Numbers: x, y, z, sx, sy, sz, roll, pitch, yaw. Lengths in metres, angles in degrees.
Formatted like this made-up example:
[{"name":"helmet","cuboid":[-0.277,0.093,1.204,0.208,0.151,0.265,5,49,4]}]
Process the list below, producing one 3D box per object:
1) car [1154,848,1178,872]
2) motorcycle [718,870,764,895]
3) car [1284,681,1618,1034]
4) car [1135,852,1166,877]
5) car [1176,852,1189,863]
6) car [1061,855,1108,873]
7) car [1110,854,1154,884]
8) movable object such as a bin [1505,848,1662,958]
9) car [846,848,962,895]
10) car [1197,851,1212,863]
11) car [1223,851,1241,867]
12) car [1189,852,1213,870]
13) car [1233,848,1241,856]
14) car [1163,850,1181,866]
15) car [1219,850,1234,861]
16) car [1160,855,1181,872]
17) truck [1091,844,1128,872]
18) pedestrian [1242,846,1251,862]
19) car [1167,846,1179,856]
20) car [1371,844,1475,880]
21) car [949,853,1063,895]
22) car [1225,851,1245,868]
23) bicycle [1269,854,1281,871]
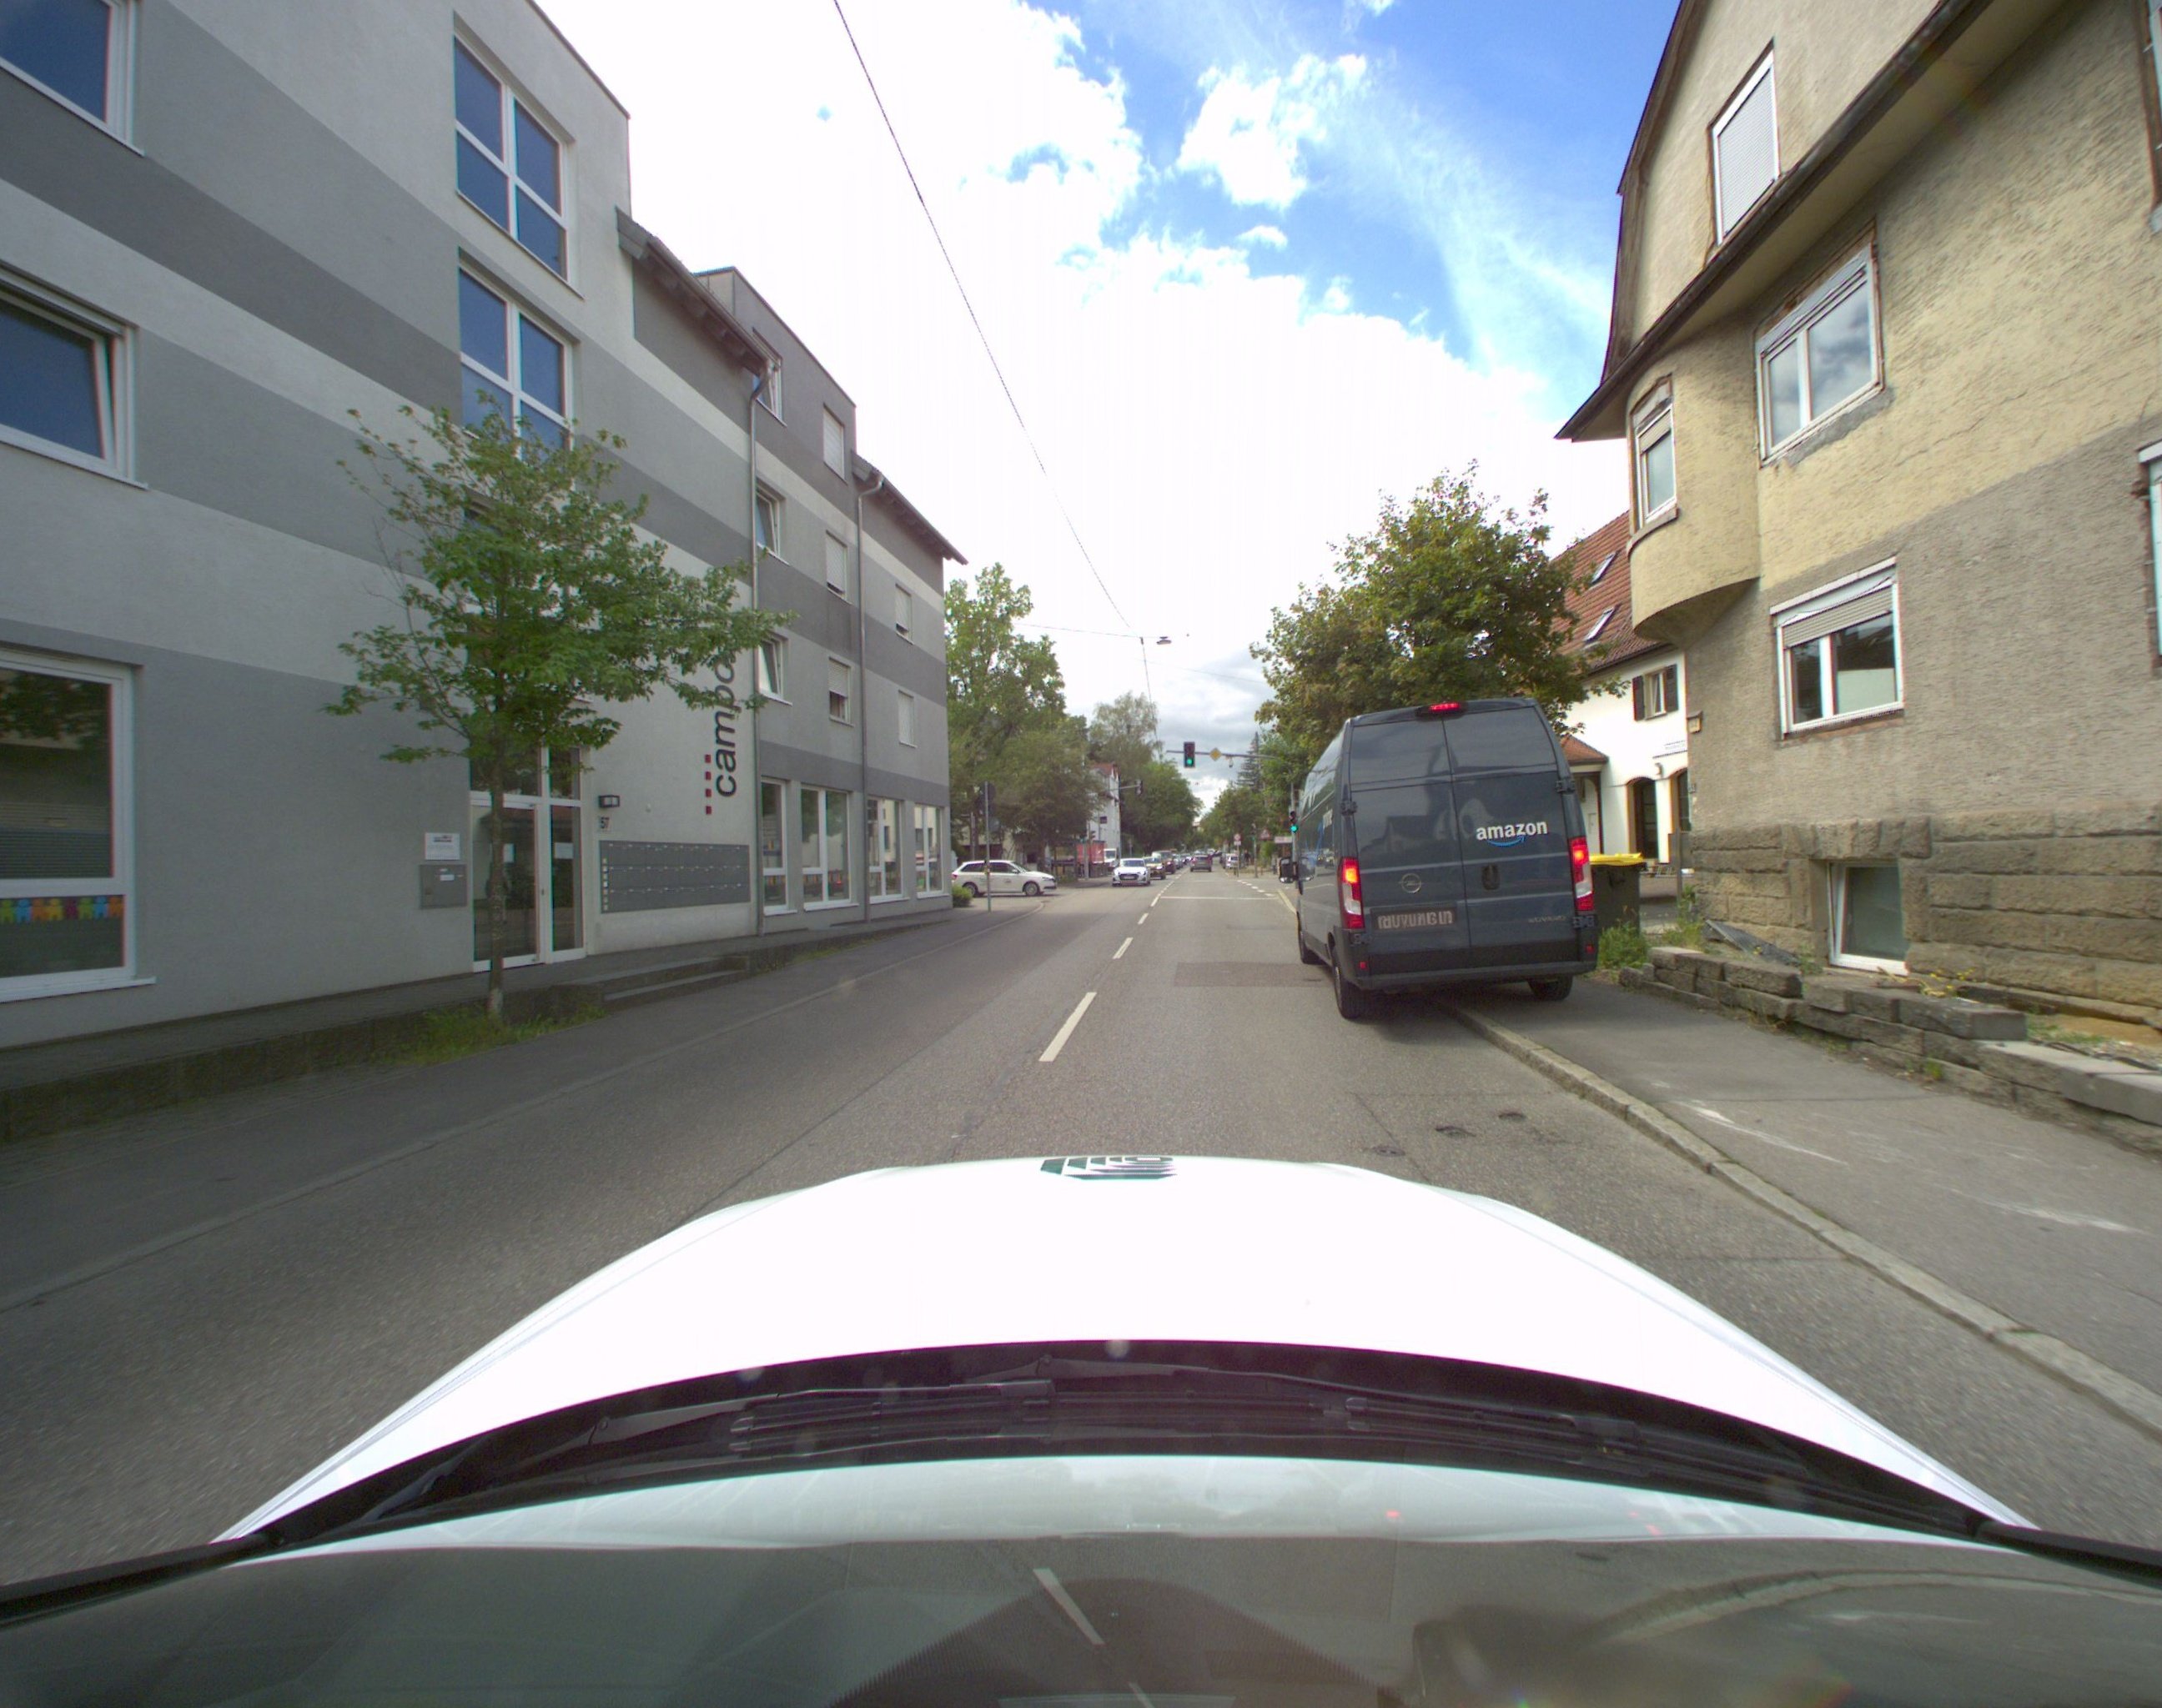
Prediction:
[{"name":"car","cuboid":[7.036,0.483,66.966,1.867,1.912,4.761,-1,0,7]},{"name":"motorcycle","cuboid":[-15.428,1.279,37.017,1.199,1.004,2.336,-1,0,-4]},{"name":"car","cuboid":[3.716,0.041,9.666,2.134,2.770,6.268,-2,0,11]},{"name":"car","cuboid":[4.570,0.656,53.180,1.718,1.538,4.009,-1,1,8]},{"name":"car","cuboid":[15.479,0.513,124.332,1.749,1.439,3.980,-3,0,9]},{"name":"car","cuboid":[0.284,0.799,66.403,3.675,1.425,1.808,-1,0,5]},{"name":"car","cuboid":[2.661,0.749,41.945,1.863,1.424,4.125,-1,0,9]},{"name":"movable object such as a bin","cuboid":[6.318,0.575,10.289,1.187,1.266,1.200,-1,0,-23]},{"name":"car","cuboid":[-7.888,0.767,36.606,4.597,2.009,2.099,-1,0,6]},{"name":"car","cuboid":[16.240,0.350,106.558,1.805,1.501,4.279,0,0,10]},{"name":"car","cuboid":[15.397,0.480,83.187,1.724,1.428,4.895,1,1,9]},{"name":"car","cuboid":[10.614,0.607,72.044,1.964,1.513,4.279,2,1,10]},{"name":"car","cuboid":[40.589,-0.429,211.460,1.981,2.014,4.012,-1,-1,11]},{"name":"car","cuboid":[10.046,0.432,89.866,1.718,1.502,4.386,-4,0,8]},{"name":"car","cuboid":[20.197,0.160,113.144,1.791,1.445,4.898,1,1,8]},{"name":"car","cuboid":[9.089,0.955,82.324,1.795,1.571,4.170,-4,0,9]},{"name":"truck","cuboid":[2.614,0.380,73.466,2.210,2.380,6.346,-1,-1,12]},{"name":"pedestrian","cuboid":[17.899,-0.019,87.883,0.875,1.712,0.845,-1,-1,10]},{"name":"car","cuboid":[19.096,-0.664,168.743,2.132,1.981,4.946,-1,-1,12]},{"name":"car","cuboid":[15.970,0.346,38.120,4.168,1.415,1.775,-3,1,-8]},{"name":"car","cuboid":[-2.970,0.781,32.622,4.188,1.513,1.827,-1,1,8]},{"name":"car","cuboid":[14.062,0.512,74.710,1.691,1.480,4.885,0,1,9]},{"name":"bicycle","cuboid":[14.037,0.597,58.878,0.715,1.150,2.221,-2,-1,14]}]
